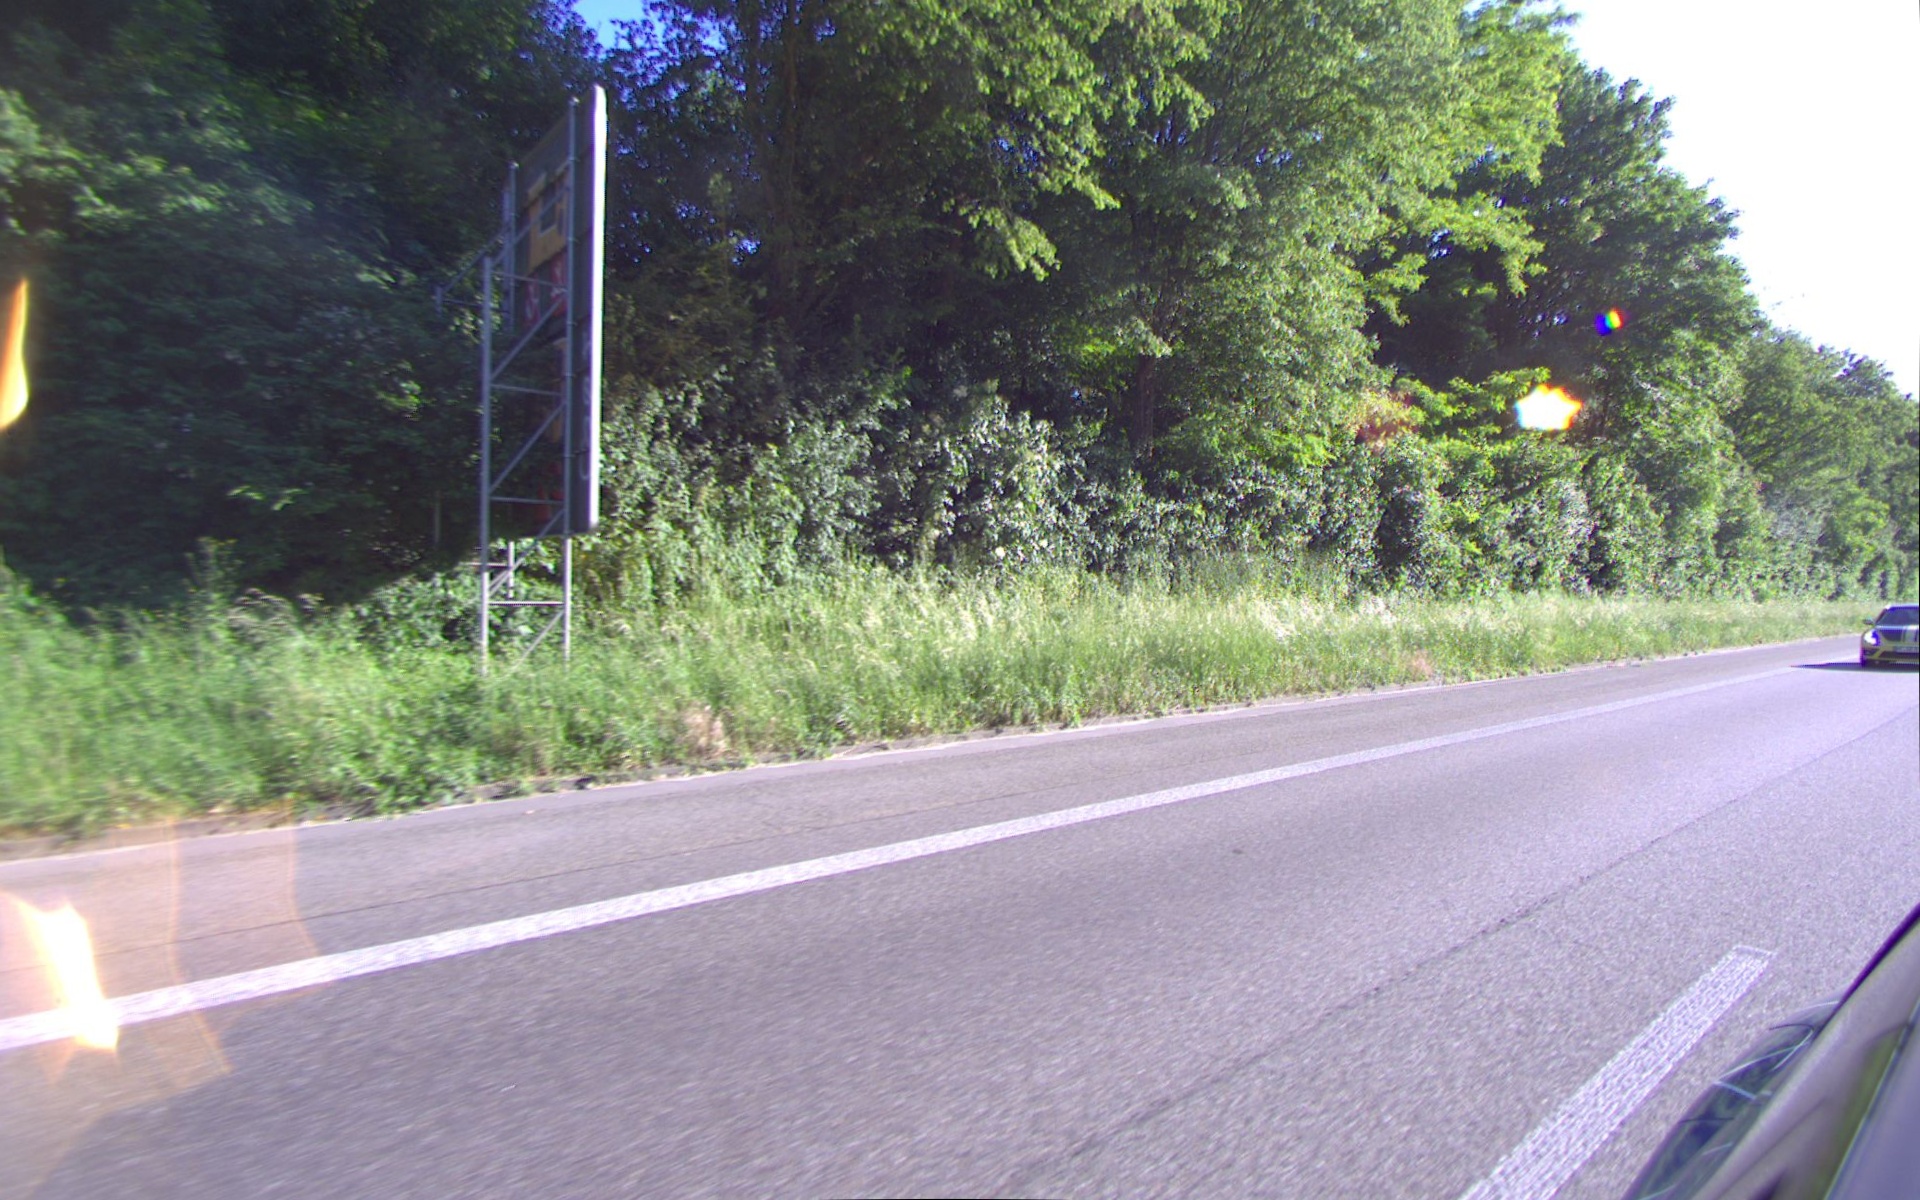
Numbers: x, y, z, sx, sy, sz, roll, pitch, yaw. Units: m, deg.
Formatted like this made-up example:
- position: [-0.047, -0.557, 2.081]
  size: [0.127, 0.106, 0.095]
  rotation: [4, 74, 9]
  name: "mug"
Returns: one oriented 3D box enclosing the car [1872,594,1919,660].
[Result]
- position: [22.674, 0.605, 23.531]
  size: [3.811, 1.467, 1.793]
  rotation: [0, 0, -42]
  name: "car"
